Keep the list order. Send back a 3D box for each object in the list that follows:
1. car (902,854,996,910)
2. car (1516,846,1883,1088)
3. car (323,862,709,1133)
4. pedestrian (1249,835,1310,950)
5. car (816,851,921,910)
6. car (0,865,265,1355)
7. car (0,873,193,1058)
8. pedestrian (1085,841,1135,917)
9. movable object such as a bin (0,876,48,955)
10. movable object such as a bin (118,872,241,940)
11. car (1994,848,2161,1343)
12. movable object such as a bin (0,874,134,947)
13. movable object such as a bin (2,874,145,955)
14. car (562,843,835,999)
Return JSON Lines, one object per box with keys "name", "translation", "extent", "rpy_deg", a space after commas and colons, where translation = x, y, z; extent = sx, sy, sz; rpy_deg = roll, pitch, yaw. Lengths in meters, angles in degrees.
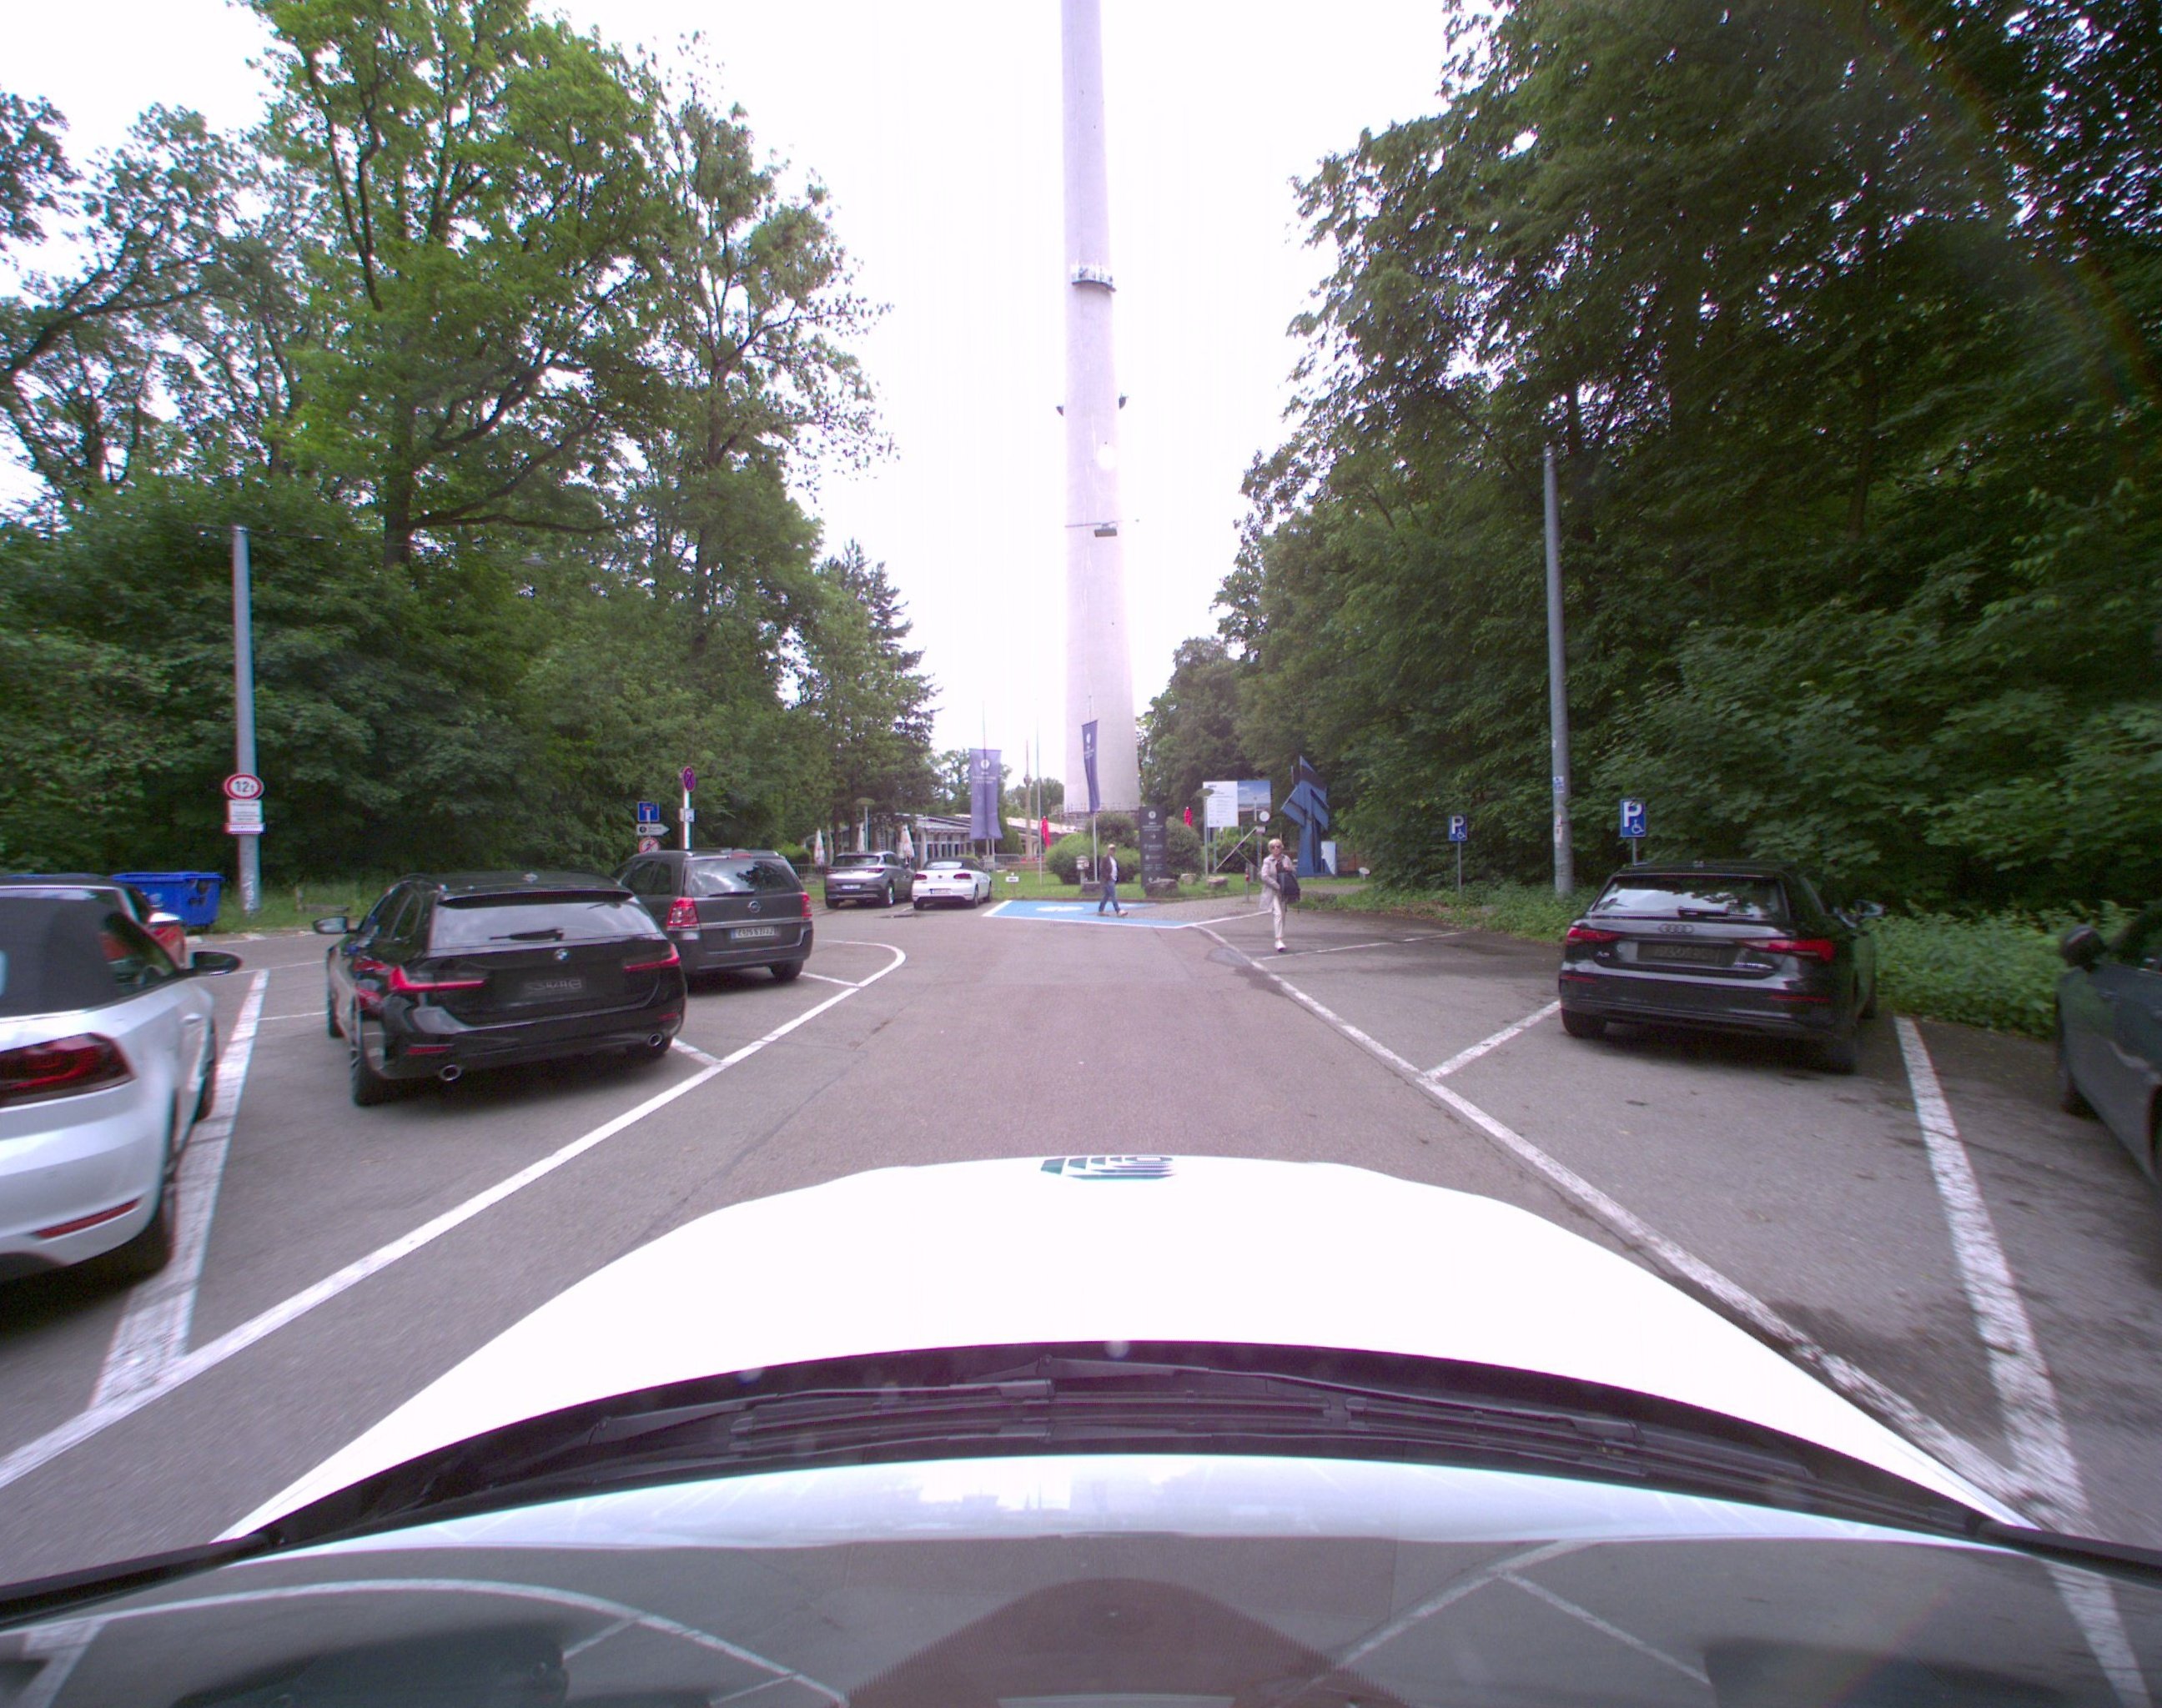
{"name": "car", "translation": [-3.714, 0.755, 23.557], "extent": [1.885, 1.428, 4.003], "rpy_deg": [-1, 0, 2]}
{"name": "car", "translation": [5.568, 0.680, 7.102], "extent": [4.228, 1.462, 1.876], "rpy_deg": [-1, 0, -43]}
{"name": "car", "translation": [-4.739, 0.809, 6.539], "extent": [4.225, 1.443, 1.770], "rpy_deg": [-1, 0, 44]}
{"name": "pedestrian", "translation": [3.089, 0.575, 12.749], "extent": [0.759, 1.725, 0.897], "rpy_deg": [-1, 0, 2]}
{"name": "car", "translation": [-6.212, 0.728, 24.285], "extent": [1.885, 1.585, 4.003], "rpy_deg": [-1, 0, 3]}
{"name": "car", "translation": [-4.844, 0.788, 3.490], "extent": [1.783, 1.443, 3.799], "rpy_deg": [-1, 0, -44]}
{"name": "car", "translation": [-10.006, 0.916, 7.775], "extent": [1.779, 1.394, 4.338], "rpy_deg": [-1, 0, -44]}
{"name": "pedestrian", "translation": [0.680, 0.569, 19.089], "extent": [0.885, 1.725, 0.769], "rpy_deg": [-1, 0, 40]}
{"name": "movable object such as a bin", "translation": [-19.081, 1.072, 14.080], "extent": [1.130, 1.314, 1.173], "rpy_deg": [-1, 0, -29]}
{"name": "movable object such as a bin", "translation": [-18.762, 1.058, 16.993], "extent": [1.254, 1.325, 1.142], "rpy_deg": [-1, 0, -11]}
{"name": "car", "translation": [5.178, 0.697, 3.217], "extent": [4.023, 1.422, 1.886], "rpy_deg": [-1, 0, -44]}
{"name": "movable object such as a bin", "translation": [-19.872, 1.073, 15.970], "extent": [1.121, 1.320, 1.239], "rpy_deg": [-1, 0, -3]}
{"name": "movable object such as a bin", "translation": [-18.004, 1.043, 14.612], "extent": [1.176, 1.307, 1.301], "rpy_deg": [-1, 0, -29]}
{"name": "car", "translation": [-5.135, 0.708, 10.615], "extent": [4.333, 1.609, 1.840], "rpy_deg": [-1, 0, 45]}
